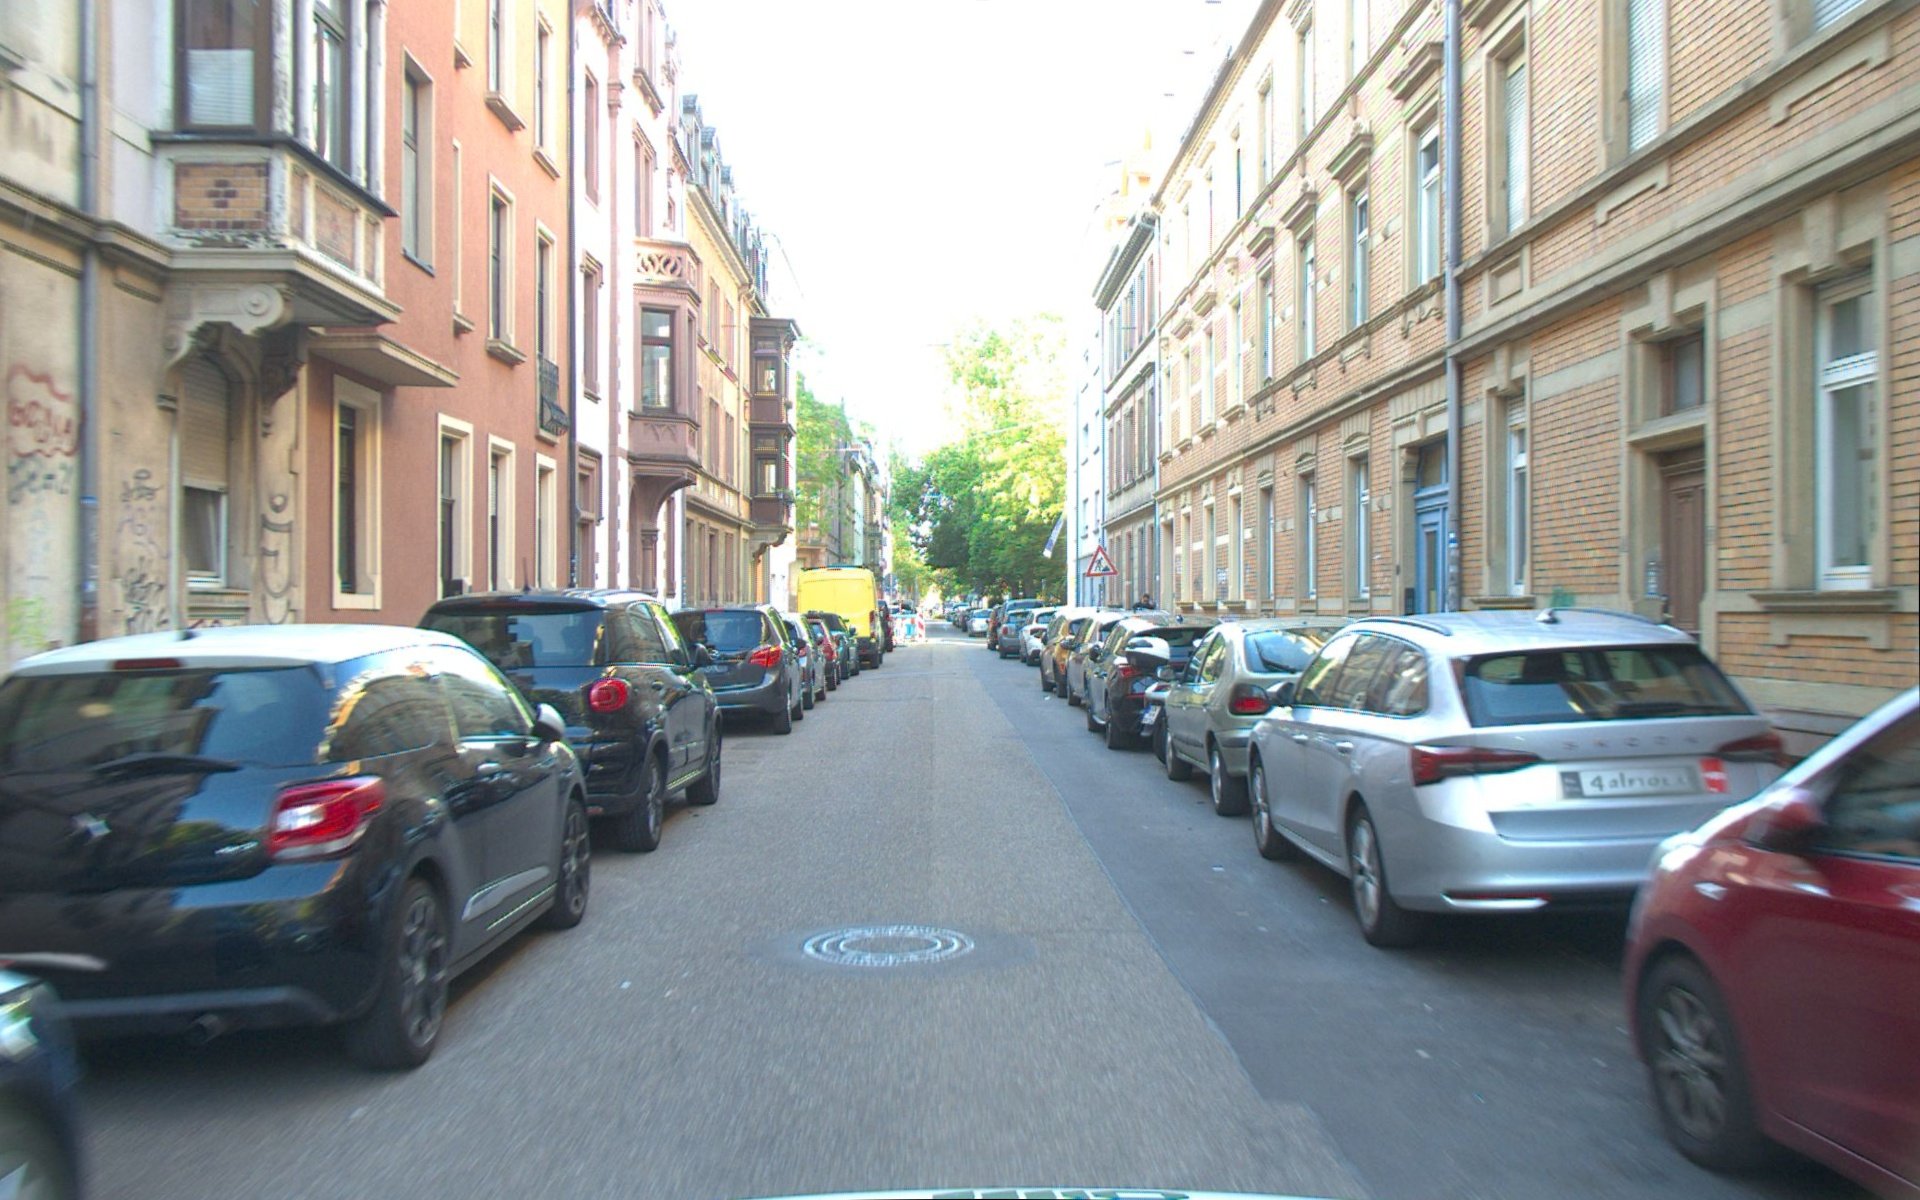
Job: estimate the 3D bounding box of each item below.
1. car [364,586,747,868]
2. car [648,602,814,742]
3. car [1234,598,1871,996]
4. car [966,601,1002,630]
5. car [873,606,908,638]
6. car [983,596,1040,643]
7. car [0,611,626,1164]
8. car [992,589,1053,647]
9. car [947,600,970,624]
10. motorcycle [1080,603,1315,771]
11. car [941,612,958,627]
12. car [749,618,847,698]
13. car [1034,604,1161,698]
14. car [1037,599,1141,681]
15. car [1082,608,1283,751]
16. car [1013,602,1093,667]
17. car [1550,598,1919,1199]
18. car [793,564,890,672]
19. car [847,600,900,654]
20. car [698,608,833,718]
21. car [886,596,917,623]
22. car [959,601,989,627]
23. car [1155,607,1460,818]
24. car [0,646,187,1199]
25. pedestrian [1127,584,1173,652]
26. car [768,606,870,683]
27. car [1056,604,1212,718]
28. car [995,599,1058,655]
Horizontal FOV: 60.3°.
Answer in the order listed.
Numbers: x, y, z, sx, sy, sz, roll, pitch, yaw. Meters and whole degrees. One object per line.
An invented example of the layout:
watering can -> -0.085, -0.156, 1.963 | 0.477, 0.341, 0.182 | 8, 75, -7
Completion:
car -> -2.673, 0.751, 11.916 | 1.725, 1.646, 4.188 | -1, 0, 0
car -> -2.889, 0.854, 21.659 | 1.745, 1.634, 4.067 | -1, 0, -2
car -> 2.683, 0.766, 8.668 | 1.726, 1.510, 4.401 | -1, 0, 0
car -> 1.297, 0.847, 91.298 | 1.689, 1.549, 3.997 | -1, 0, -4
car -> -4.095, 1.298, 97.499 | 1.843, 1.737, 3.999 | -2, -1, 0
car -> 1.886, 0.735, 61.878 | 1.862, 1.669, 4.389 | -1, -1, -1
car -> -2.518, 0.849, 6.664 | 1.610, 1.481, 3.837 | -3, 0, -2
car -> 2.127, 0.598, 57.214 | 1.718, 1.817, 4.722 | -4, 0, -1
car -> -0.191, 1.156, 162.976 | 2.117, 2.295, 4.523 | -1, -1, -2
motorcycle -> 2.367, 0.839, 16.440 | 2.193, 1.563, 0.882 | 1, 0, -27
car -> -1.300, 2.330, 200.564 | 1.953, 1.758, 3.999 | -1, 0, -1
car -> -3.106, 1.086, 32.332 | 1.585, 1.349, 3.611 | -4, 0, -2
car -> 2.444, 0.878, 30.280 | 1.719, 1.471, 4.067 | -4, 0, -3
car -> 2.692, 0.808, 35.259 | 1.686, 1.506, 4.081 | -5, 0, -2
car -> 2.481, 0.836, 19.432 | 1.741, 1.421, 4.317 | -1, 0, 0
car -> 2.535, 0.902, 45.894 | 1.719, 1.544, 4.441 | -5, 0, -2
car -> 2.848, 0.761, 3.423 | 1.626, 1.505, 4.022 | -1, 0, -3
car -> -3.048, 0.442, 43.670 | 2.131, 2.551, 5.876 | -3, 0, -1
car -> -3.072, 0.911, 58.336 | 1.782, 1.797, 4.332 | -1, 0, -4
car -> -3.024, 0.940, 26.438 | 1.660, 1.500, 3.918 | -4, 0, -1
car -> -4.753, 0.808, 135.337 | 2.262, 2.151, 5.169 | -1, -1, 0
car -> 0.938, 0.954, 112.574 | 1.856, 1.654, 3.998 | -1, -1, -2
car -> 2.702, 0.810, 13.734 | 1.657, 1.431, 3.992 | -1, 0, 0
car -> -2.512, 0.828, 1.747 | 1.745, 1.428, 3.741 | -1, 0, -2
pedestrian -> 4.740, 0.445, 41.364 | 0.650, 1.659, 0.867 | -2, -1, -43
car -> -3.093, 0.951, 36.993 | 1.683, 1.437, 3.898 | -6, 0, 2
car -> 2.591, 0.866, 25.539 | 1.691, 1.442, 4.092 | -5, 0, -3
car -> 2.031, 0.810, 51.774 | 1.718, 1.478, 4.288 | -5, 0, 0
